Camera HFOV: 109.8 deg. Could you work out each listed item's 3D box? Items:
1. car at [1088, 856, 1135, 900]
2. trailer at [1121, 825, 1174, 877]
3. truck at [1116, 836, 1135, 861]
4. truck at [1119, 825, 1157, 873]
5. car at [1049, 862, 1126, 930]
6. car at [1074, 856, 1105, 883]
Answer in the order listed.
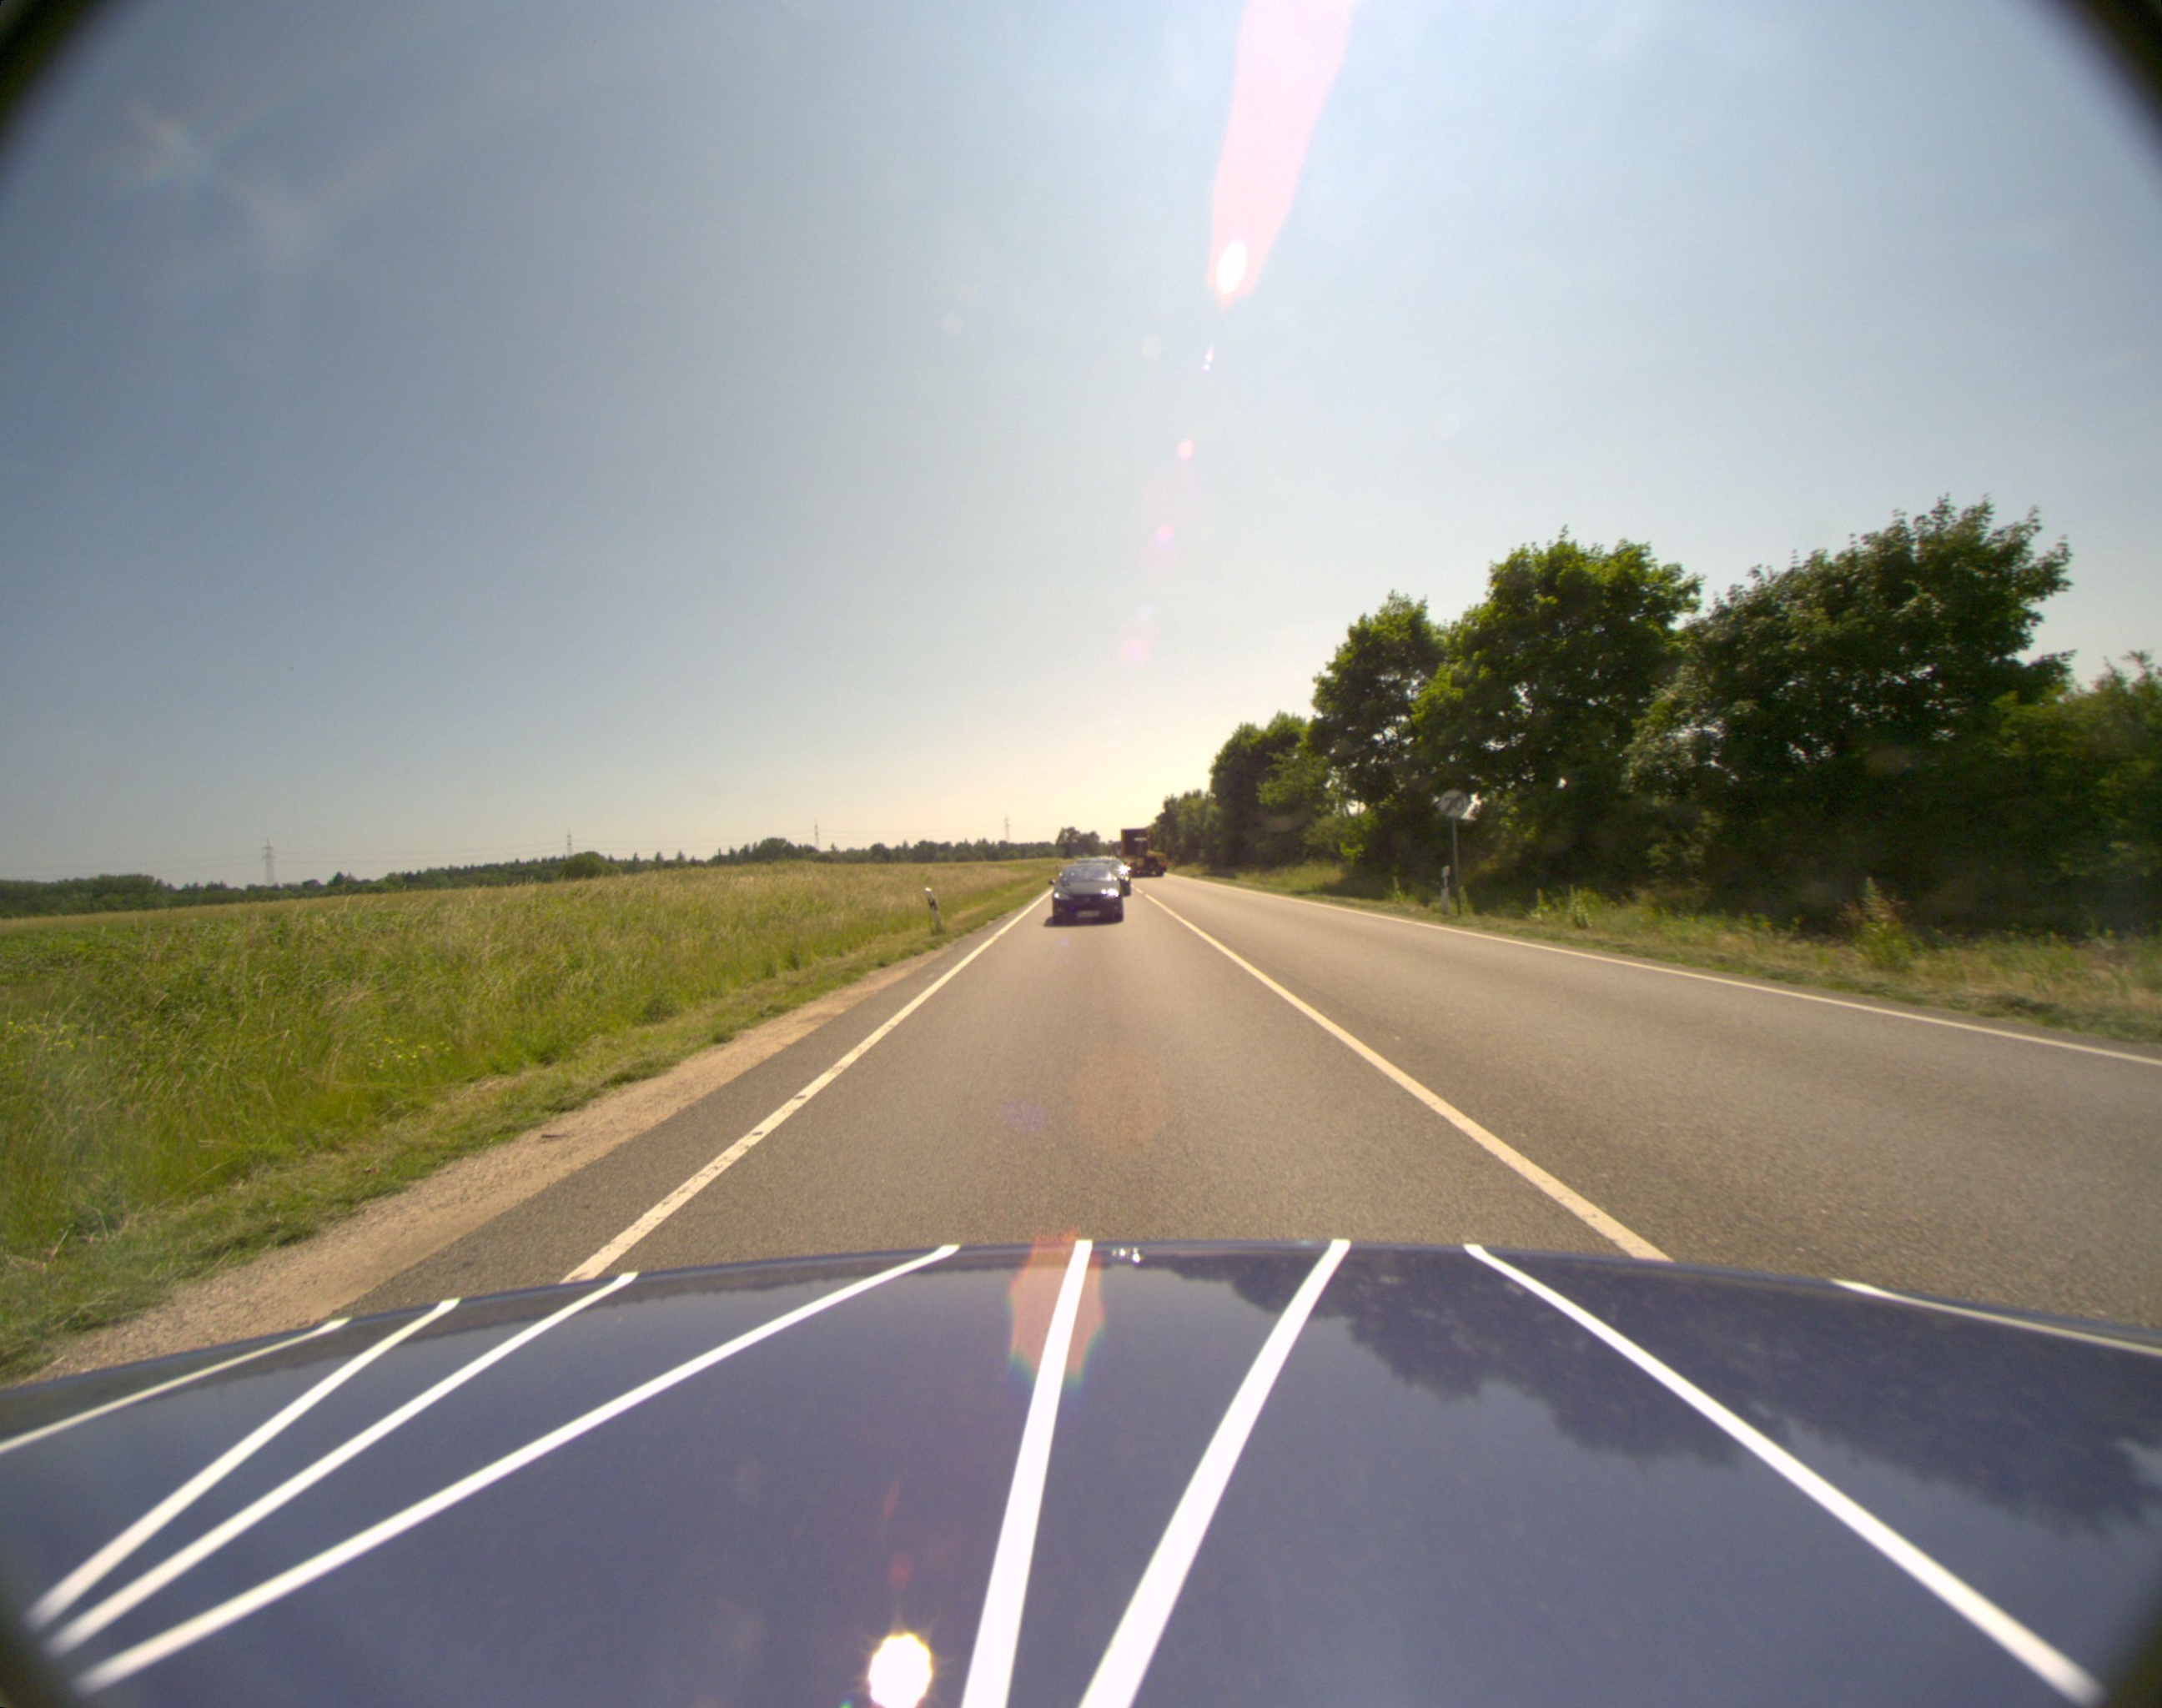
[{"bbox_3d":[1.181,0.891,29.751,1.665,1.477,3.732,-2,0,2],"label":"car"},{"bbox_3d":[4.935,-0.182,59.539,2.669,3.440,14.948,-2,0,0],"label":"trailer"},{"bbox_3d":[6.888,-0.835,118.757,2.769,3.711,10.548,-2,0,3],"label":"truck"},{"bbox_3d":[4.903,-0.424,66.582,2.709,3.908,5.952,-2,0,0],"label":"truck"},{"bbox_3d":[0.176,0.972,18.904,1.665,1.389,3.731,-2,0,1],"label":"car"},{"bbox_3d":[0.530,0.882,45.785,1.665,1.449,4.174,-2,0,2],"label":"car"}]
